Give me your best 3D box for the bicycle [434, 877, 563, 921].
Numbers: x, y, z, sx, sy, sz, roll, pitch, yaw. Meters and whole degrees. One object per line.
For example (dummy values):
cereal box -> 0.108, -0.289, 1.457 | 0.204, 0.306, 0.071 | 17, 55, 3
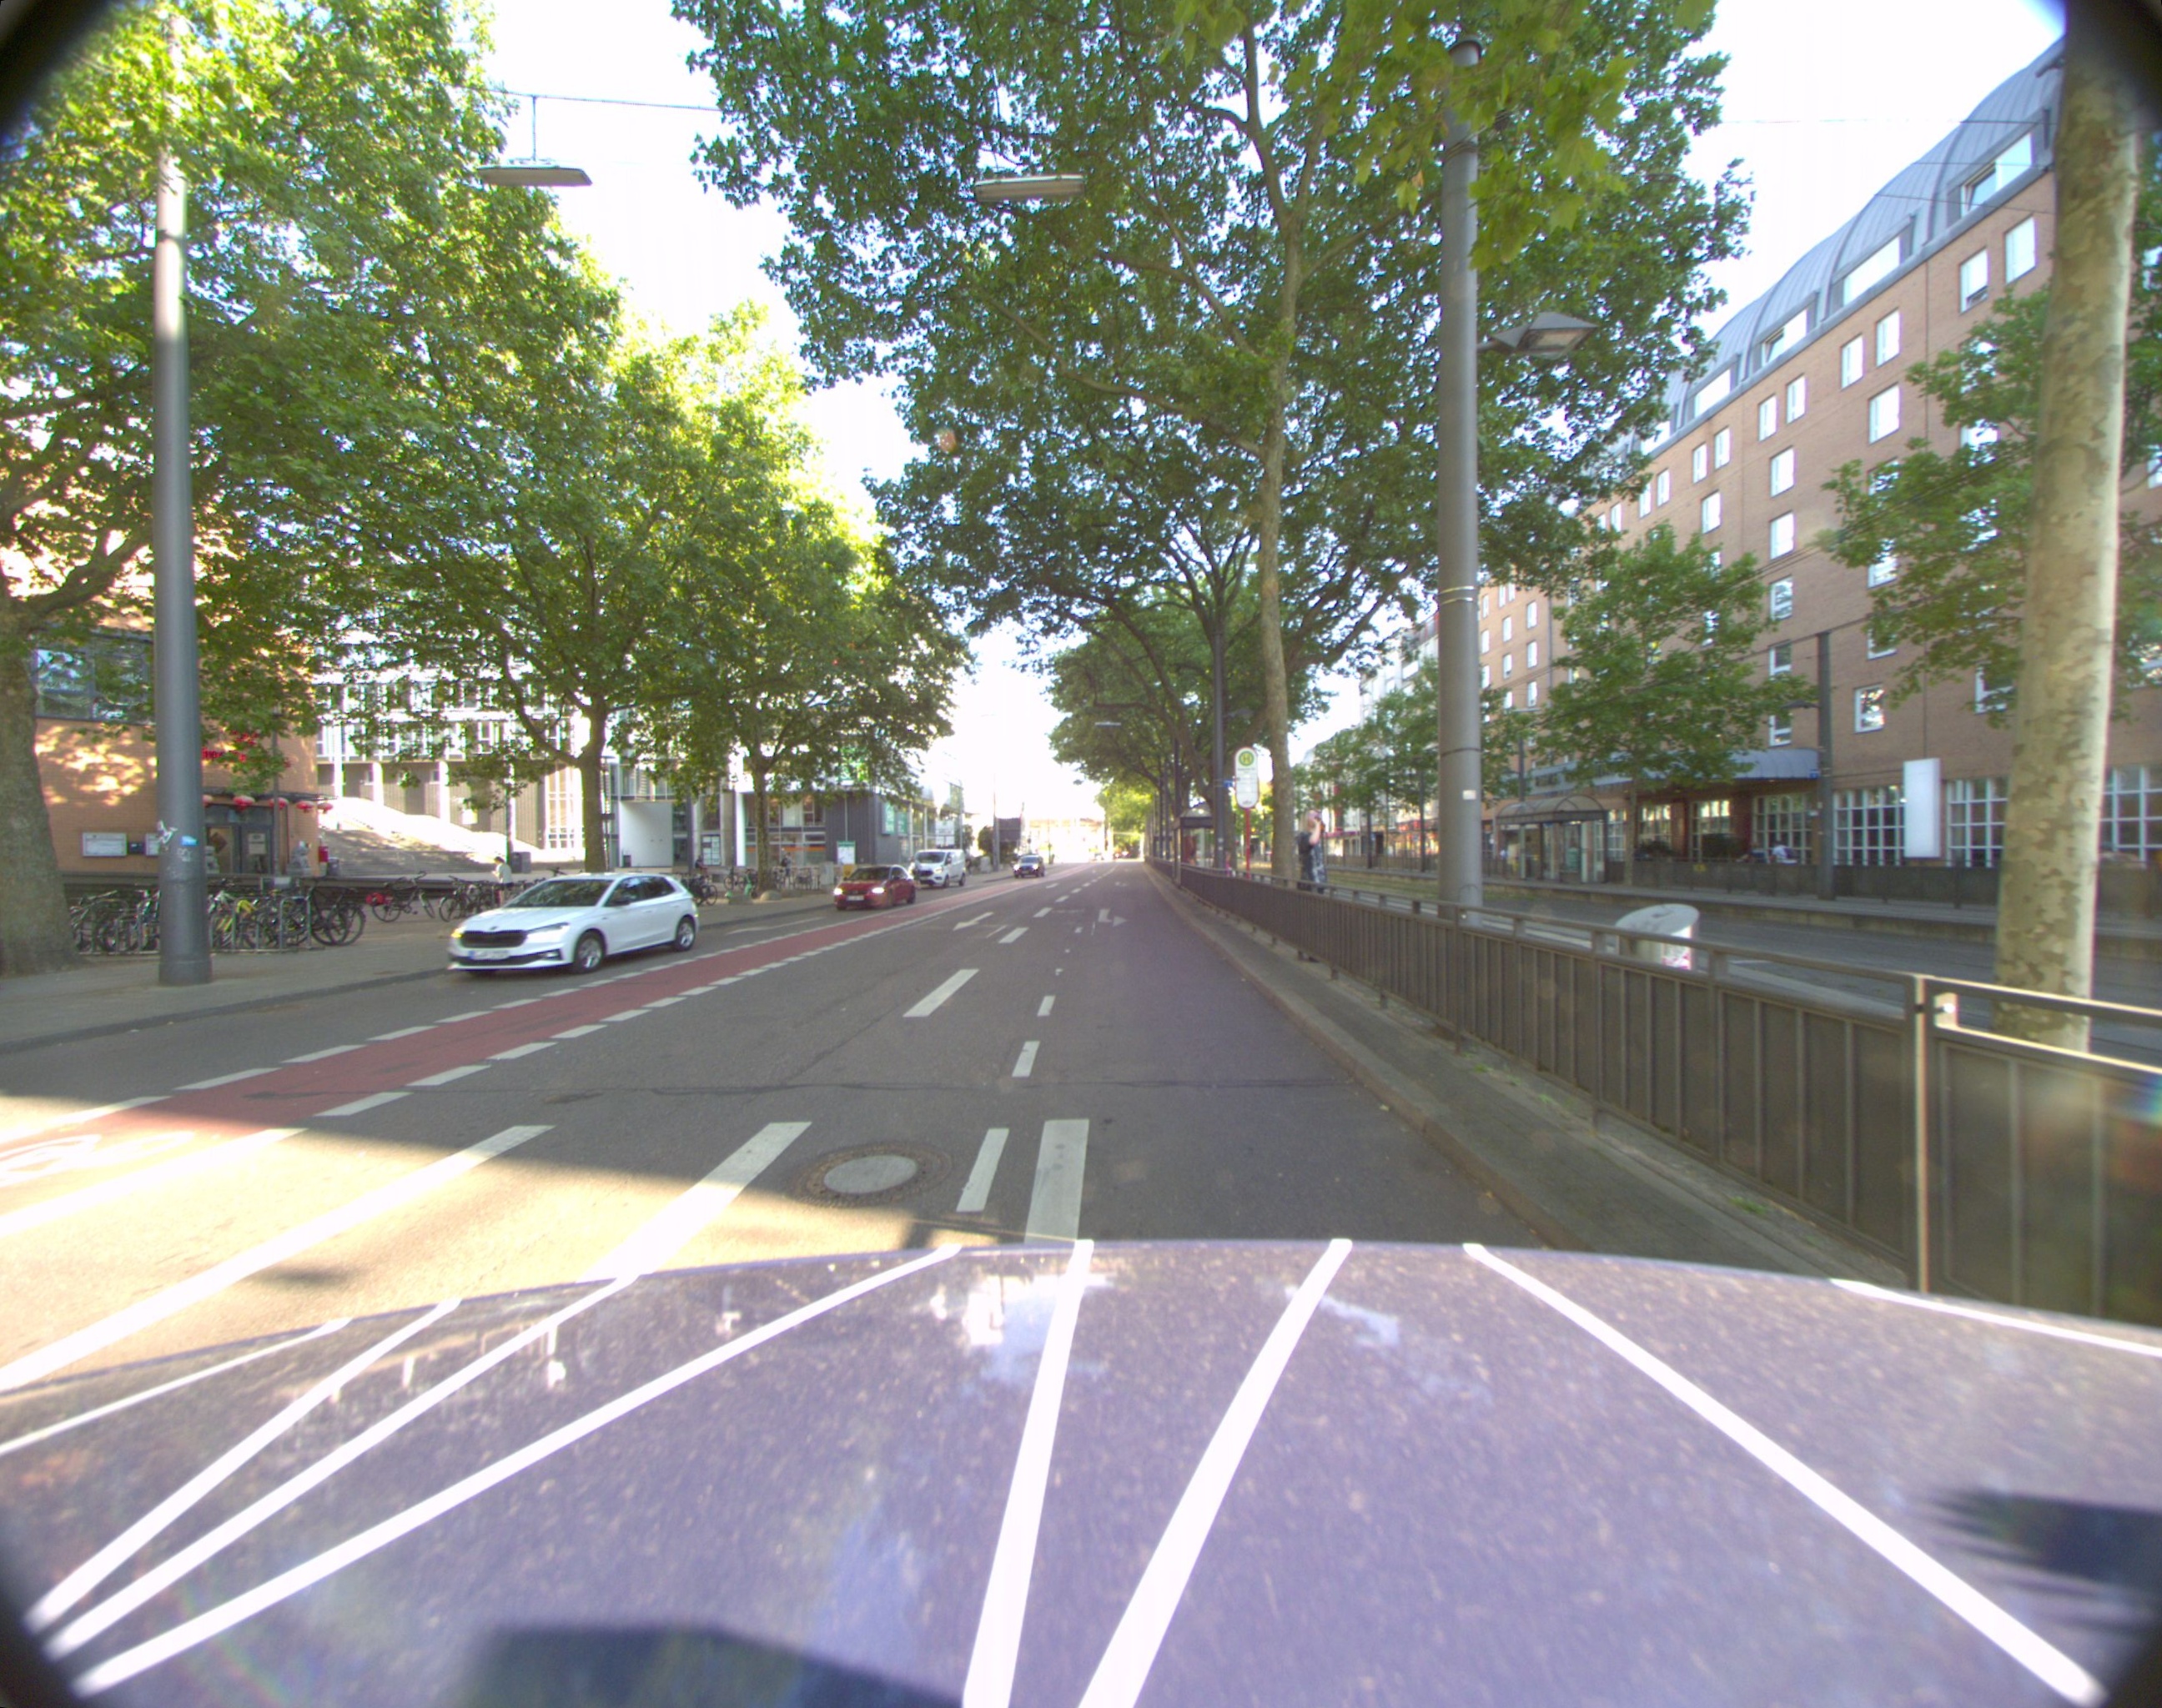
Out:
bicycle -> -16.241, 1.227, 21.186 | 3.328, 1.078, 1.149 | 0, 1, 18

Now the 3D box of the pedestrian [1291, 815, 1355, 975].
pedestrian -> 2.865, 0.475, 9.014 | 0.543, 1.823, 0.524 | -2, 1, 2

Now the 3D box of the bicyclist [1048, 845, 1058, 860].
bicyclist -> -3.764, -0.197, 102.337 | 0.957, 2.002, 0.939 | -2, 1, 18

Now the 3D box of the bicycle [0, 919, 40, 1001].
bicycle -> -13.392, 1.317, 8.082 | 0.925, 0.943, 2.637 | -2, 1, 1

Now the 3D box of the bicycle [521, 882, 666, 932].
bicycle -> -12.819, 1.357, 20.172 | 0.975, 1.020, 3.208 | -2, 1, 23

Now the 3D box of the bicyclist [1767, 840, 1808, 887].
bicyclist -> 23.809, 0.308, 25.601 | 0.662, 1.565, 0.758 | -1, 1, -7

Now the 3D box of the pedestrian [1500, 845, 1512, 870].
pedestrian -> 29.543, 0.273, 52.818 | 0.504, 1.725, 0.574 | -1, 1, 3

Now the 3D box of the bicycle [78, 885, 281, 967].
bicycle -> -15.575, 1.201, 13.254 | 0.657, 1.155, 2.293 | -2, 1, 3

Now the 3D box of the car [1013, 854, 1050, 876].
car -> -3.749, 0.831, 58.035 | 1.784, 1.481, 4.198 | -3, 0, 10

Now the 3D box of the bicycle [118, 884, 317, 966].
bicycle -> -14.840, 1.170, 13.189 | 0.671, 1.155, 2.305 | -2, 1, 3

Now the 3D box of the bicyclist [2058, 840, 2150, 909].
bicyclist -> 22.750, 0.432, 16.917 | 0.655, 1.466, 1.032 | -2, 1, -4

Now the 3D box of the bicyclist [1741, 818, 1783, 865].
bicyclist -> 23.048, -0.400, 25.712 | 0.684, 1.550, 0.758 | -1, -1, -7

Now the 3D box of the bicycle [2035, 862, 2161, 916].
bicycle -> 22.778, 0.741, 16.849 | 0.654, 1.044, 2.011 | -2, 1, -4

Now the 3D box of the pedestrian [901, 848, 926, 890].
pedestrian -> -8.212, 0.718, 37.232 | 0.815, 2.002, 0.979 | -2, 0, 10

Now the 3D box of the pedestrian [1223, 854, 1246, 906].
pedestrian -> 3.977, 0.665, 19.686 | 0.542, 1.310, 0.524 | -2, 1, 12

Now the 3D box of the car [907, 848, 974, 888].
car -> -7.373, 0.676, 40.532 | 1.932, 1.953, 5.920 | -2, 0, 5

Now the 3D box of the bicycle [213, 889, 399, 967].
bicycle -> -13.111, 1.204, 12.986 | 0.682, 1.054, 2.337 | -1, 1, 2

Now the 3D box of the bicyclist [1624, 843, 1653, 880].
bicyclist -> 23.969, 0.330, 32.662 | 0.662, 1.560, 0.758 | -1, 1, -7

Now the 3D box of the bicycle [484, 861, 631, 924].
bicycle -> -13.946, 0.973, 20.429 | 0.892, 1.476, 3.228 | -1, 1, 22

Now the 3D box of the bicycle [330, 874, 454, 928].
bicycle -> -17.843, 1.178, 19.800 | 0.699, 1.193, 2.700 | -2, 1, 1

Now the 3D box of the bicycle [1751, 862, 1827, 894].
bicycle -> 23.825, 0.801, 25.612 | 0.655, 0.993, 1.900 | -1, 1, -6

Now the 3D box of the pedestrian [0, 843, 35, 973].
pedestrian -> -17.077, 0.832, 11.547 | 0.934, 2.002, 1.091 | -1, 1, -25

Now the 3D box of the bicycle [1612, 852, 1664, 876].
bicycle -> 24.003, 0.422, 32.785 | 0.696, 0.993, 1.900 | -1, 1, -6

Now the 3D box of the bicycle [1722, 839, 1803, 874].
bicycle -> 23.047, 0.114, 25.766 | 0.687, 1.135, 2.110 | -1, -2, -6

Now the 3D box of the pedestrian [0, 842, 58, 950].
pedestrian -> -22.694, 0.886, 16.123 | 0.842, 2.220, 0.905 | -2, 2, 22

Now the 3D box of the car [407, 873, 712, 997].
car -> -7.958, 1.133, 12.199 | 1.835, 1.481, 4.195 | -2, 0, 2

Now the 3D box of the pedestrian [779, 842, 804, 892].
pedestrian -> -15.580, 0.678, 40.861 | 0.981, 2.633, 0.900 | -3, 2, -31

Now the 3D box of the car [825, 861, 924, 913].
car -> -6.842, 1.043, 25.638 | 1.835, 1.481, 4.196 | -3, 0, 4

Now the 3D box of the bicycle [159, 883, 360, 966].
bicycle -> -14.046, 1.158, 13.138 | 0.751, 1.155, 2.397 | -2, 1, 2

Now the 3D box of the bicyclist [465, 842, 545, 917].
bicyclist -> -15.967, 0.680, 21.085 | 1.296, 2.002, 1.158 | -1, 2, 17

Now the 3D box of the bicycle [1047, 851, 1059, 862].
bicycle -> -3.751, 0.366, 102.378 | 0.949, 1.460, 2.708 | 0, 1, 14
